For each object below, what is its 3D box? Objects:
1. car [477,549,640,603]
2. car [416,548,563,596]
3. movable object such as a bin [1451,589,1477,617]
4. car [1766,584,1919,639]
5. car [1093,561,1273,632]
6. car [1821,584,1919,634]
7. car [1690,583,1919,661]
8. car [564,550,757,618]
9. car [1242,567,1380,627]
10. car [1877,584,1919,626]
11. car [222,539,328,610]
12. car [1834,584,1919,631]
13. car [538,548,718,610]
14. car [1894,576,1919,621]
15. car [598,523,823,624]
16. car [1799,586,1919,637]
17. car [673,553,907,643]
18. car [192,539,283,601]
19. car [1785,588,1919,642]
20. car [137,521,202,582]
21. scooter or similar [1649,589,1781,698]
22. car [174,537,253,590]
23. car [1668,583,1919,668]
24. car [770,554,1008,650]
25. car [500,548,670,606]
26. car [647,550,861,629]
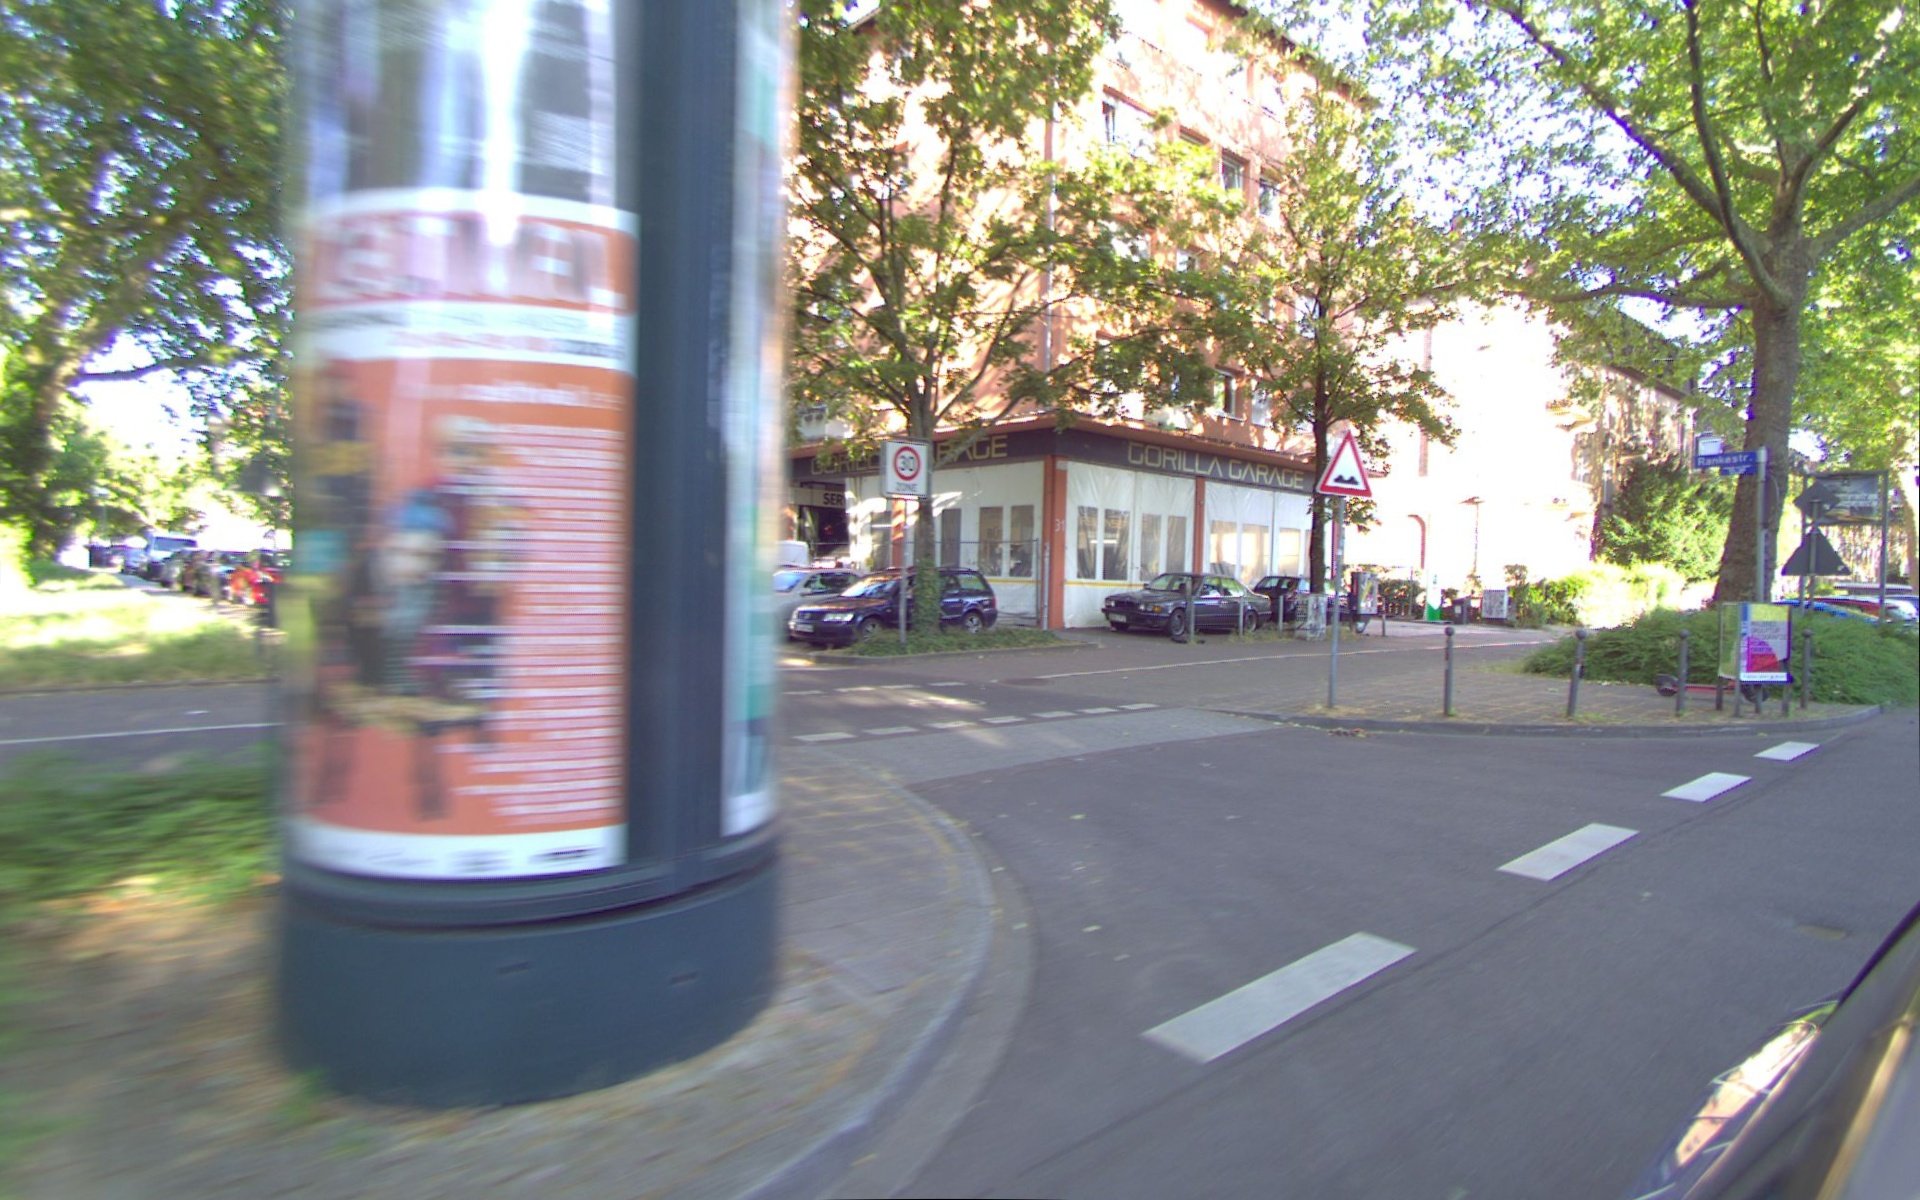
[{"bbox_3d":[-12.827,-0.767,32.519,4.503,1.594,1.790,0,3,-45],"label":"car"},{"bbox_3d":[-16.929,-0.977,36.553,4.503,1.594,1.790,0,3,-45],"label":"car"},{"bbox_3d":[17.479,0.095,35.104,0.438,0.951,0.659,-1,3,-36],"label":"movable object such as a bin"},{"bbox_3d":[29.569,0.348,33.470,1.784,1.575,4.212,0,2,-38],"label":"car"},{"bbox_3d":[5.212,-0.092,23.324,4.389,1.452,1.752,0,3,-41],"label":"car"},{"bbox_3d":[33.501,0.316,35.956,1.847,1.638,4.206,0,2,-43],"label":"car"},{"bbox_3d":[20.447,0.460,24.245,1.916,1.562,4.416,0,2,-38],"label":"car"},{"bbox_3d":[-7.679,-0.407,26.252,4.503,1.594,1.790,0,3,-45],"label":"car"},{"bbox_3d":[9.469,-0.109,27.204,3.881,1.452,1.752,0,3,-41],"label":"car"},{"bbox_3d":[40.510,0.292,41.737,1.760,1.638,3.789,0,4,-42],"label":"car"},{"bbox_3d":[-17.119,-0.666,25.217,1.655,1.601,3.924,0,3,-42],"label":"car"},{"bbox_3d":[35.455,0.304,37.626,1.784,1.638,4.212,0,2,-38],"label":"car"},{"bbox_3d":[-9.279,-0.575,28.576,4.503,1.594,1.790,0,3,-45],"label":"car"},{"bbox_3d":[47.023,0.055,47.231,2.158,2.038,4.853,0,4,-43],"label":"car"},{"bbox_3d":[-5.967,-0.637,24.664,5.000,2.211,1.914,0,3,-44],"label":"car"},{"bbox_3d":[31.593,0.381,34.563,1.784,1.593,4.212,0,2,-38],"label":"car"},{"bbox_3d":[-3.338,-0.078,20.546,1.790,1.594,4.506,4,3,43],"label":"car"},{"bbox_3d":[-20.512,-0.877,28.657,1.655,1.601,3.924,0,3,-42],"label":"car"},{"bbox_3d":[28.284,0.449,31.147,1.786,1.465,4.209,0,2,-40],"label":"car"},{"bbox_3d":[-36.063,-2.235,46.119,1.942,2.594,5.037,0,3,-42],"label":"car"},{"bbox_3d":[9.479,0.515,12.730,0.560,1.255,1.210,0,3,-42],"label":"scooter or similar"},{"bbox_3d":[-24.018,-1.197,32.517,1.655,1.601,3.924,0,3,-42],"label":"car"},{"bbox_3d":[18.669,0.477,22.503,1.782,1.562,4.421,1,2,-33],"label":"car"},{"bbox_3d":[-1.249,-0.002,19.441,1.790,1.594,4.506,4,3,43],"label":"car"},{"bbox_3d":[-11.295,-0.683,30.707,4.503,1.594,1.790,0,3,-45],"label":"car"},{"bbox_3d":[-4.577,-0.245,22.994,4.503,1.594,1.790,0,3,-45],"label":"car"}]
